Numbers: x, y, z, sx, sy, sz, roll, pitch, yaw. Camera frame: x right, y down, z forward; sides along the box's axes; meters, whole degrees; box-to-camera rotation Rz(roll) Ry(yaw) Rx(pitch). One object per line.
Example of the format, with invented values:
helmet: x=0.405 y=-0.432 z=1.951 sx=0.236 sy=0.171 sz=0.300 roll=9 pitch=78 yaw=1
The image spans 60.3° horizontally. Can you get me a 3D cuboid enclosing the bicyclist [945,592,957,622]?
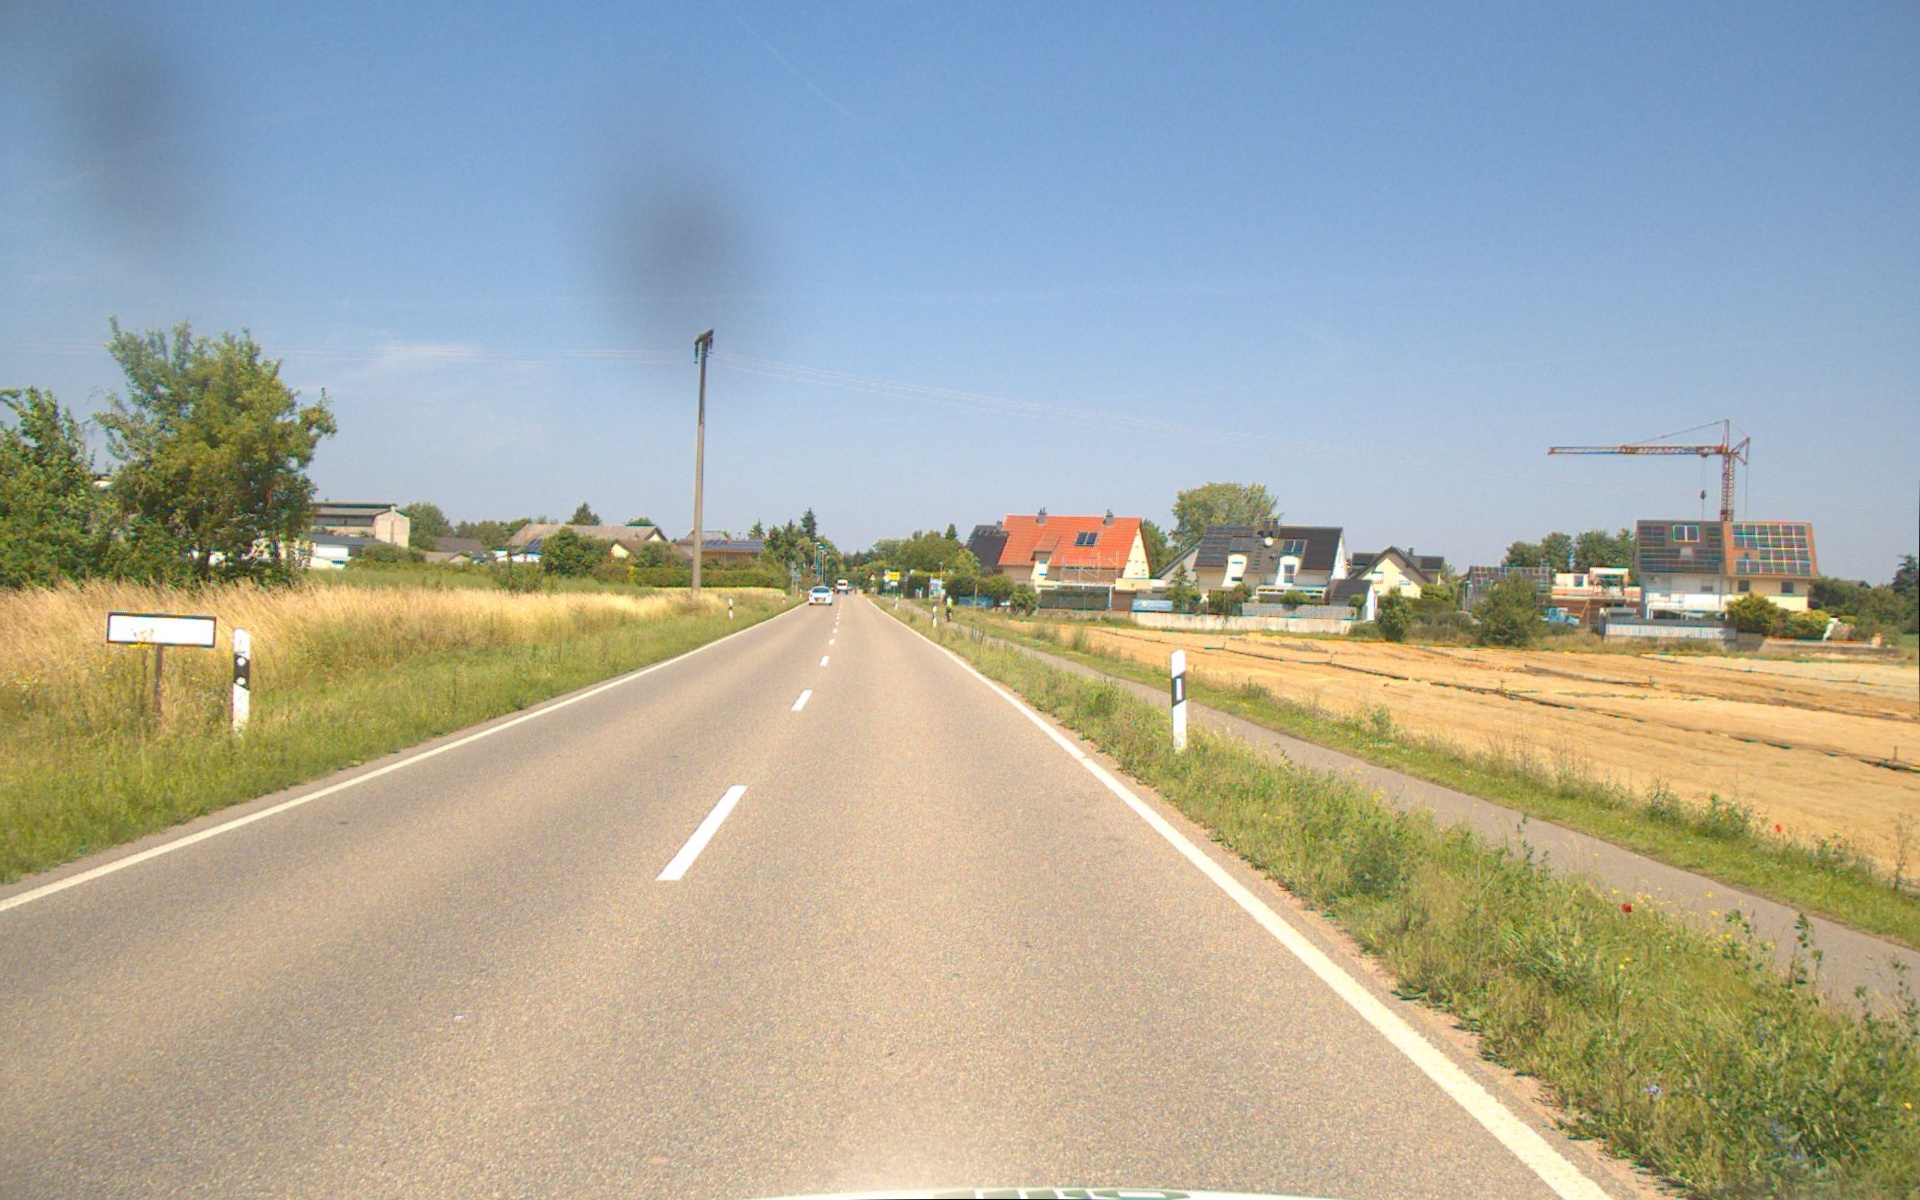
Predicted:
bicyclist: x=-0.575 y=0.474 z=110.232 sx=0.632 sy=1.922 sz=0.860 roll=3 pitch=1 yaw=-5

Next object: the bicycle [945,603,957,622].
bicycle: x=-0.602 y=0.844 z=110.389 sx=0.598 sy=1.178 sz=2.272 roll=3 pitch=1 yaw=-5

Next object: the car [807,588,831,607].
car: x=-11.075 y=-0.234 z=129.911 sx=1.756 sy=1.434 sz=4.182 roll=1 pitch=0 yaw=-4
